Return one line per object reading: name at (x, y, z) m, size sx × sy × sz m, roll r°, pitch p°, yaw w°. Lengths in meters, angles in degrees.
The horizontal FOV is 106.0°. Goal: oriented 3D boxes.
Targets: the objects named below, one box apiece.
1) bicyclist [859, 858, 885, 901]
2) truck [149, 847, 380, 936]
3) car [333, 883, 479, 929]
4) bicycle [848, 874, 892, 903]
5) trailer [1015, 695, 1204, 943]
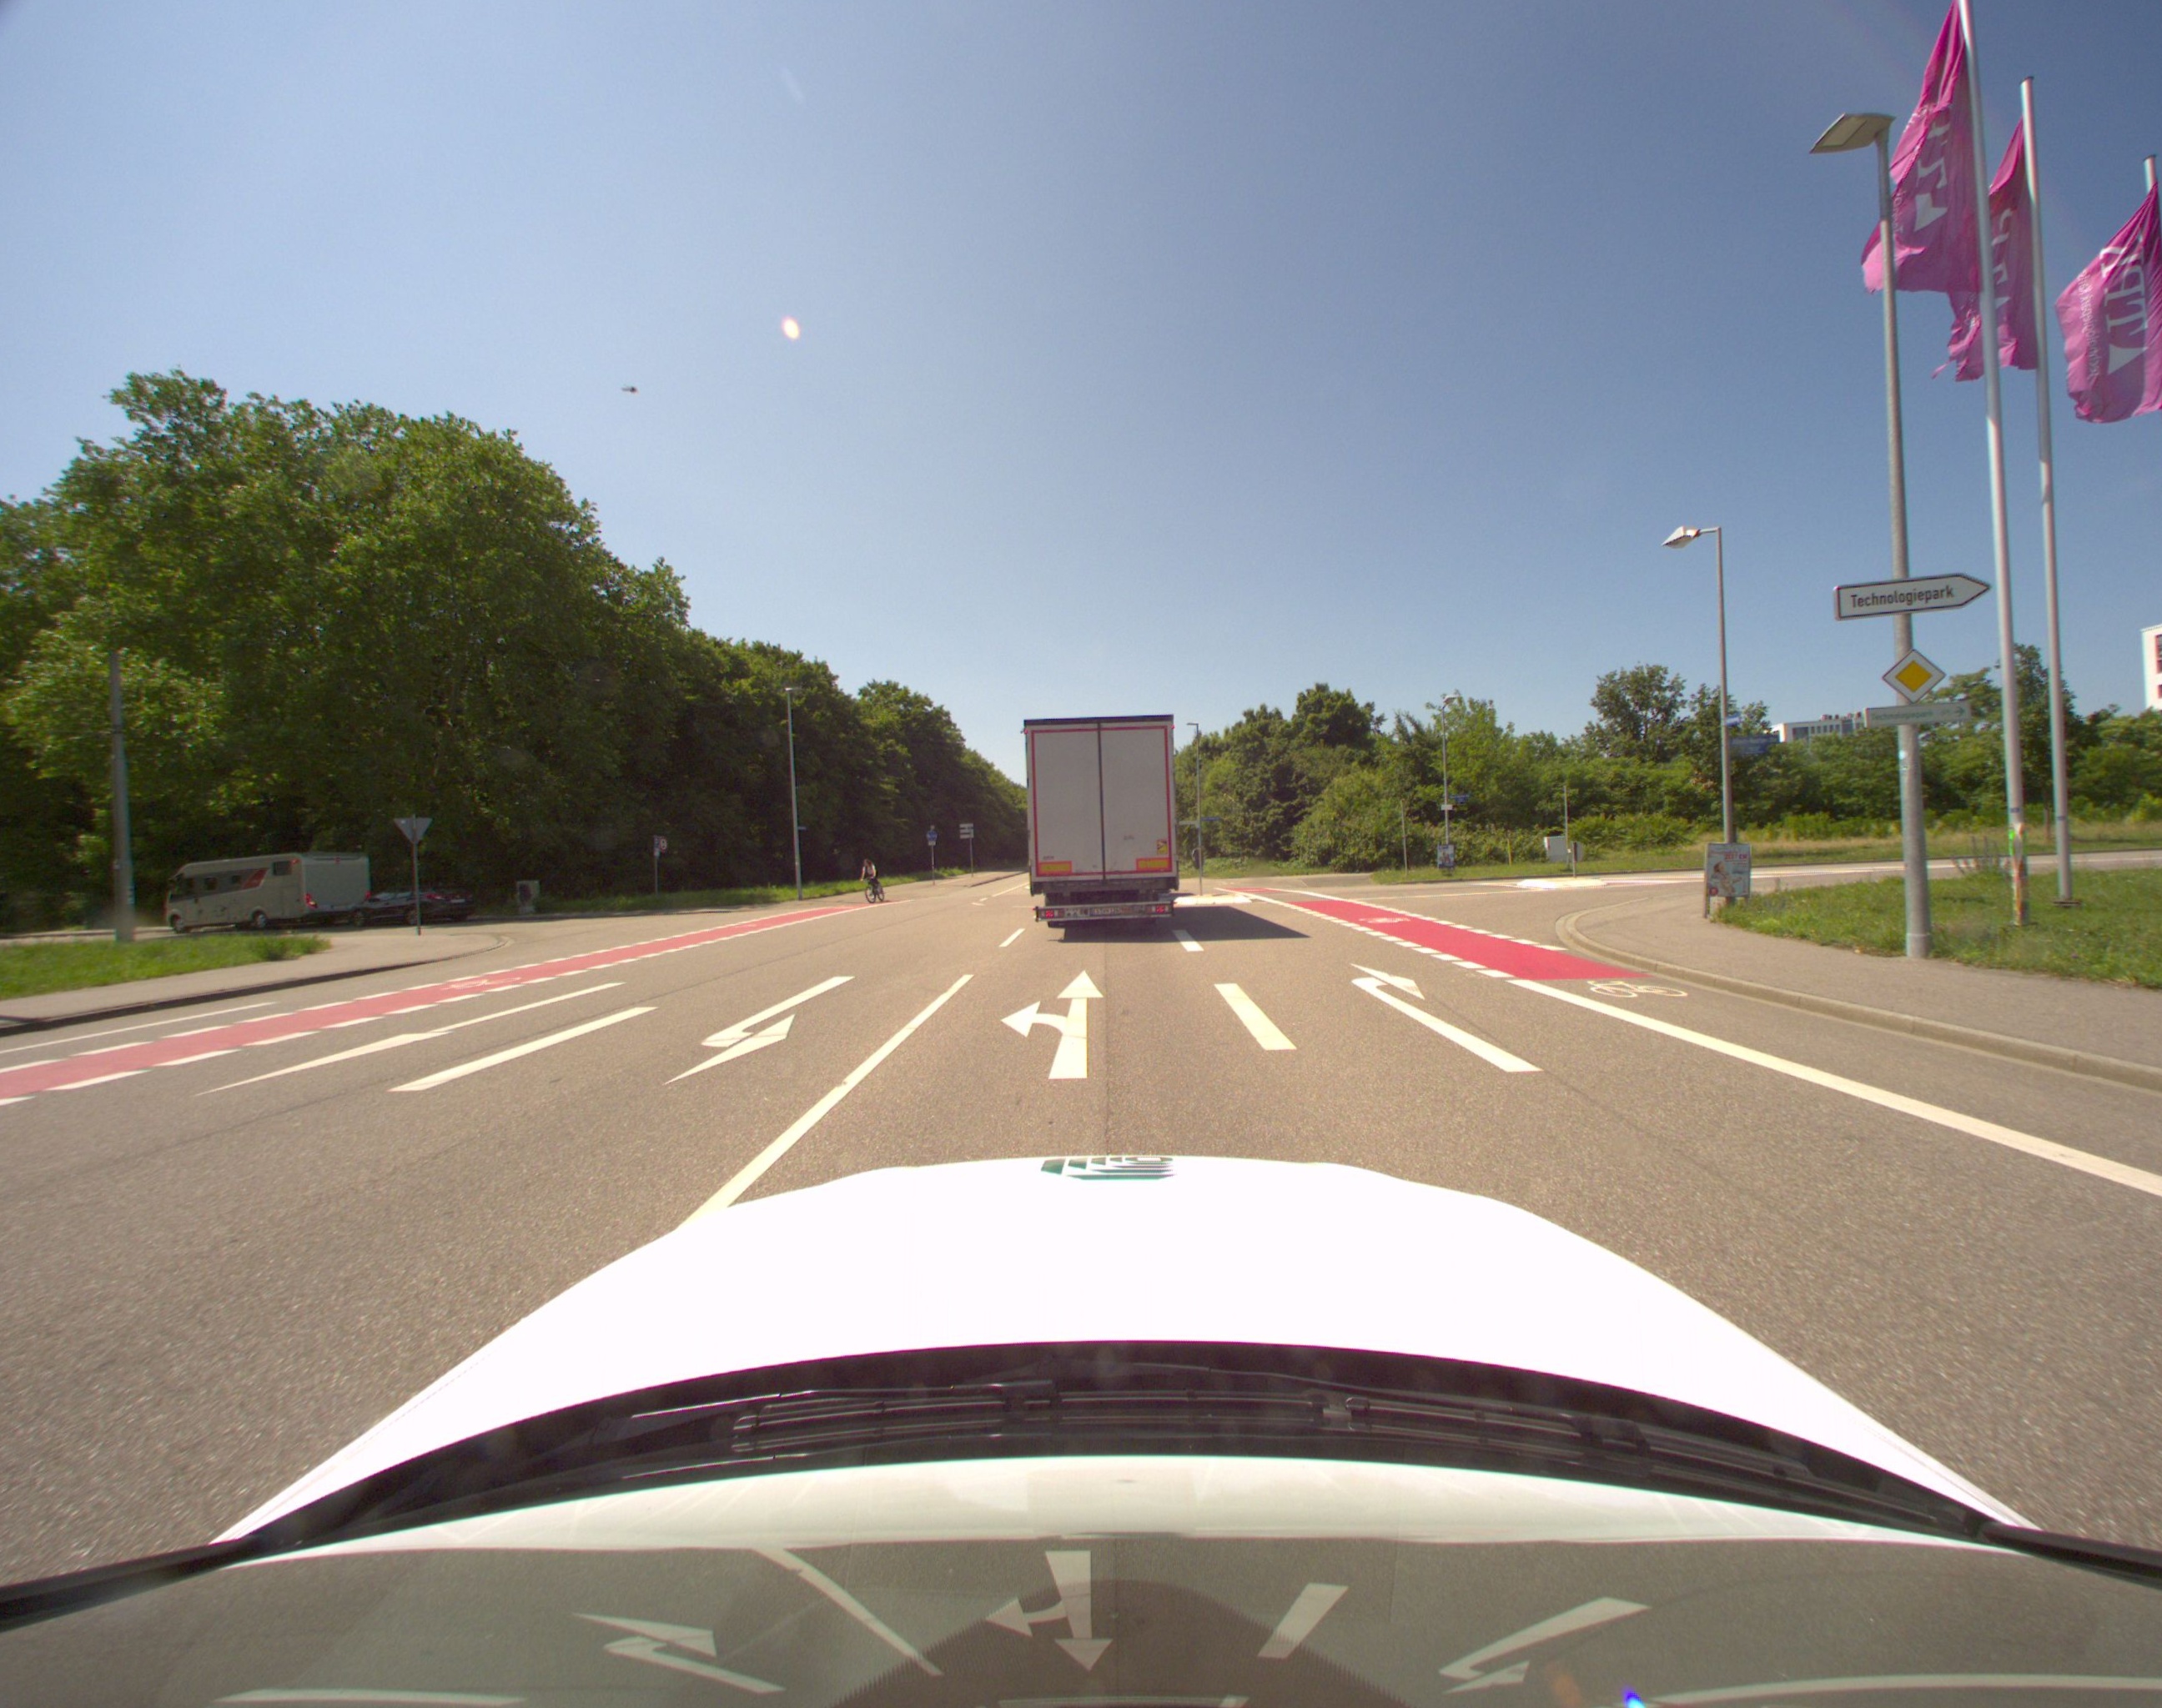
bicyclist at (-8.476, 1.037, 33.028) m, size 0.659 × 1.706 × 0.773 m, roll -1°, pitch 0°, yaw 19°
truck at (-31.317, 1.432, 31.302) m, size 7.270 × 2.910 × 2.576 m, roll -4°, pitch -1°, yaw 11°
car at (-24.558, 1.875, 29.680) m, size 4.272 × 1.417 × 1.671 m, roll -3°, pitch -1°, yaw 10°
bicycle at (-8.505, 1.378, 32.932) m, size 0.663 × 1.055 × 2.055 m, roll -1°, pitch 1°, yaw 19°
trailer at (0.349, -0.613, 18.549) m, size 3.069 × 4.069 × 9.802 m, roll -2°, pitch 0°, yaw -2°
